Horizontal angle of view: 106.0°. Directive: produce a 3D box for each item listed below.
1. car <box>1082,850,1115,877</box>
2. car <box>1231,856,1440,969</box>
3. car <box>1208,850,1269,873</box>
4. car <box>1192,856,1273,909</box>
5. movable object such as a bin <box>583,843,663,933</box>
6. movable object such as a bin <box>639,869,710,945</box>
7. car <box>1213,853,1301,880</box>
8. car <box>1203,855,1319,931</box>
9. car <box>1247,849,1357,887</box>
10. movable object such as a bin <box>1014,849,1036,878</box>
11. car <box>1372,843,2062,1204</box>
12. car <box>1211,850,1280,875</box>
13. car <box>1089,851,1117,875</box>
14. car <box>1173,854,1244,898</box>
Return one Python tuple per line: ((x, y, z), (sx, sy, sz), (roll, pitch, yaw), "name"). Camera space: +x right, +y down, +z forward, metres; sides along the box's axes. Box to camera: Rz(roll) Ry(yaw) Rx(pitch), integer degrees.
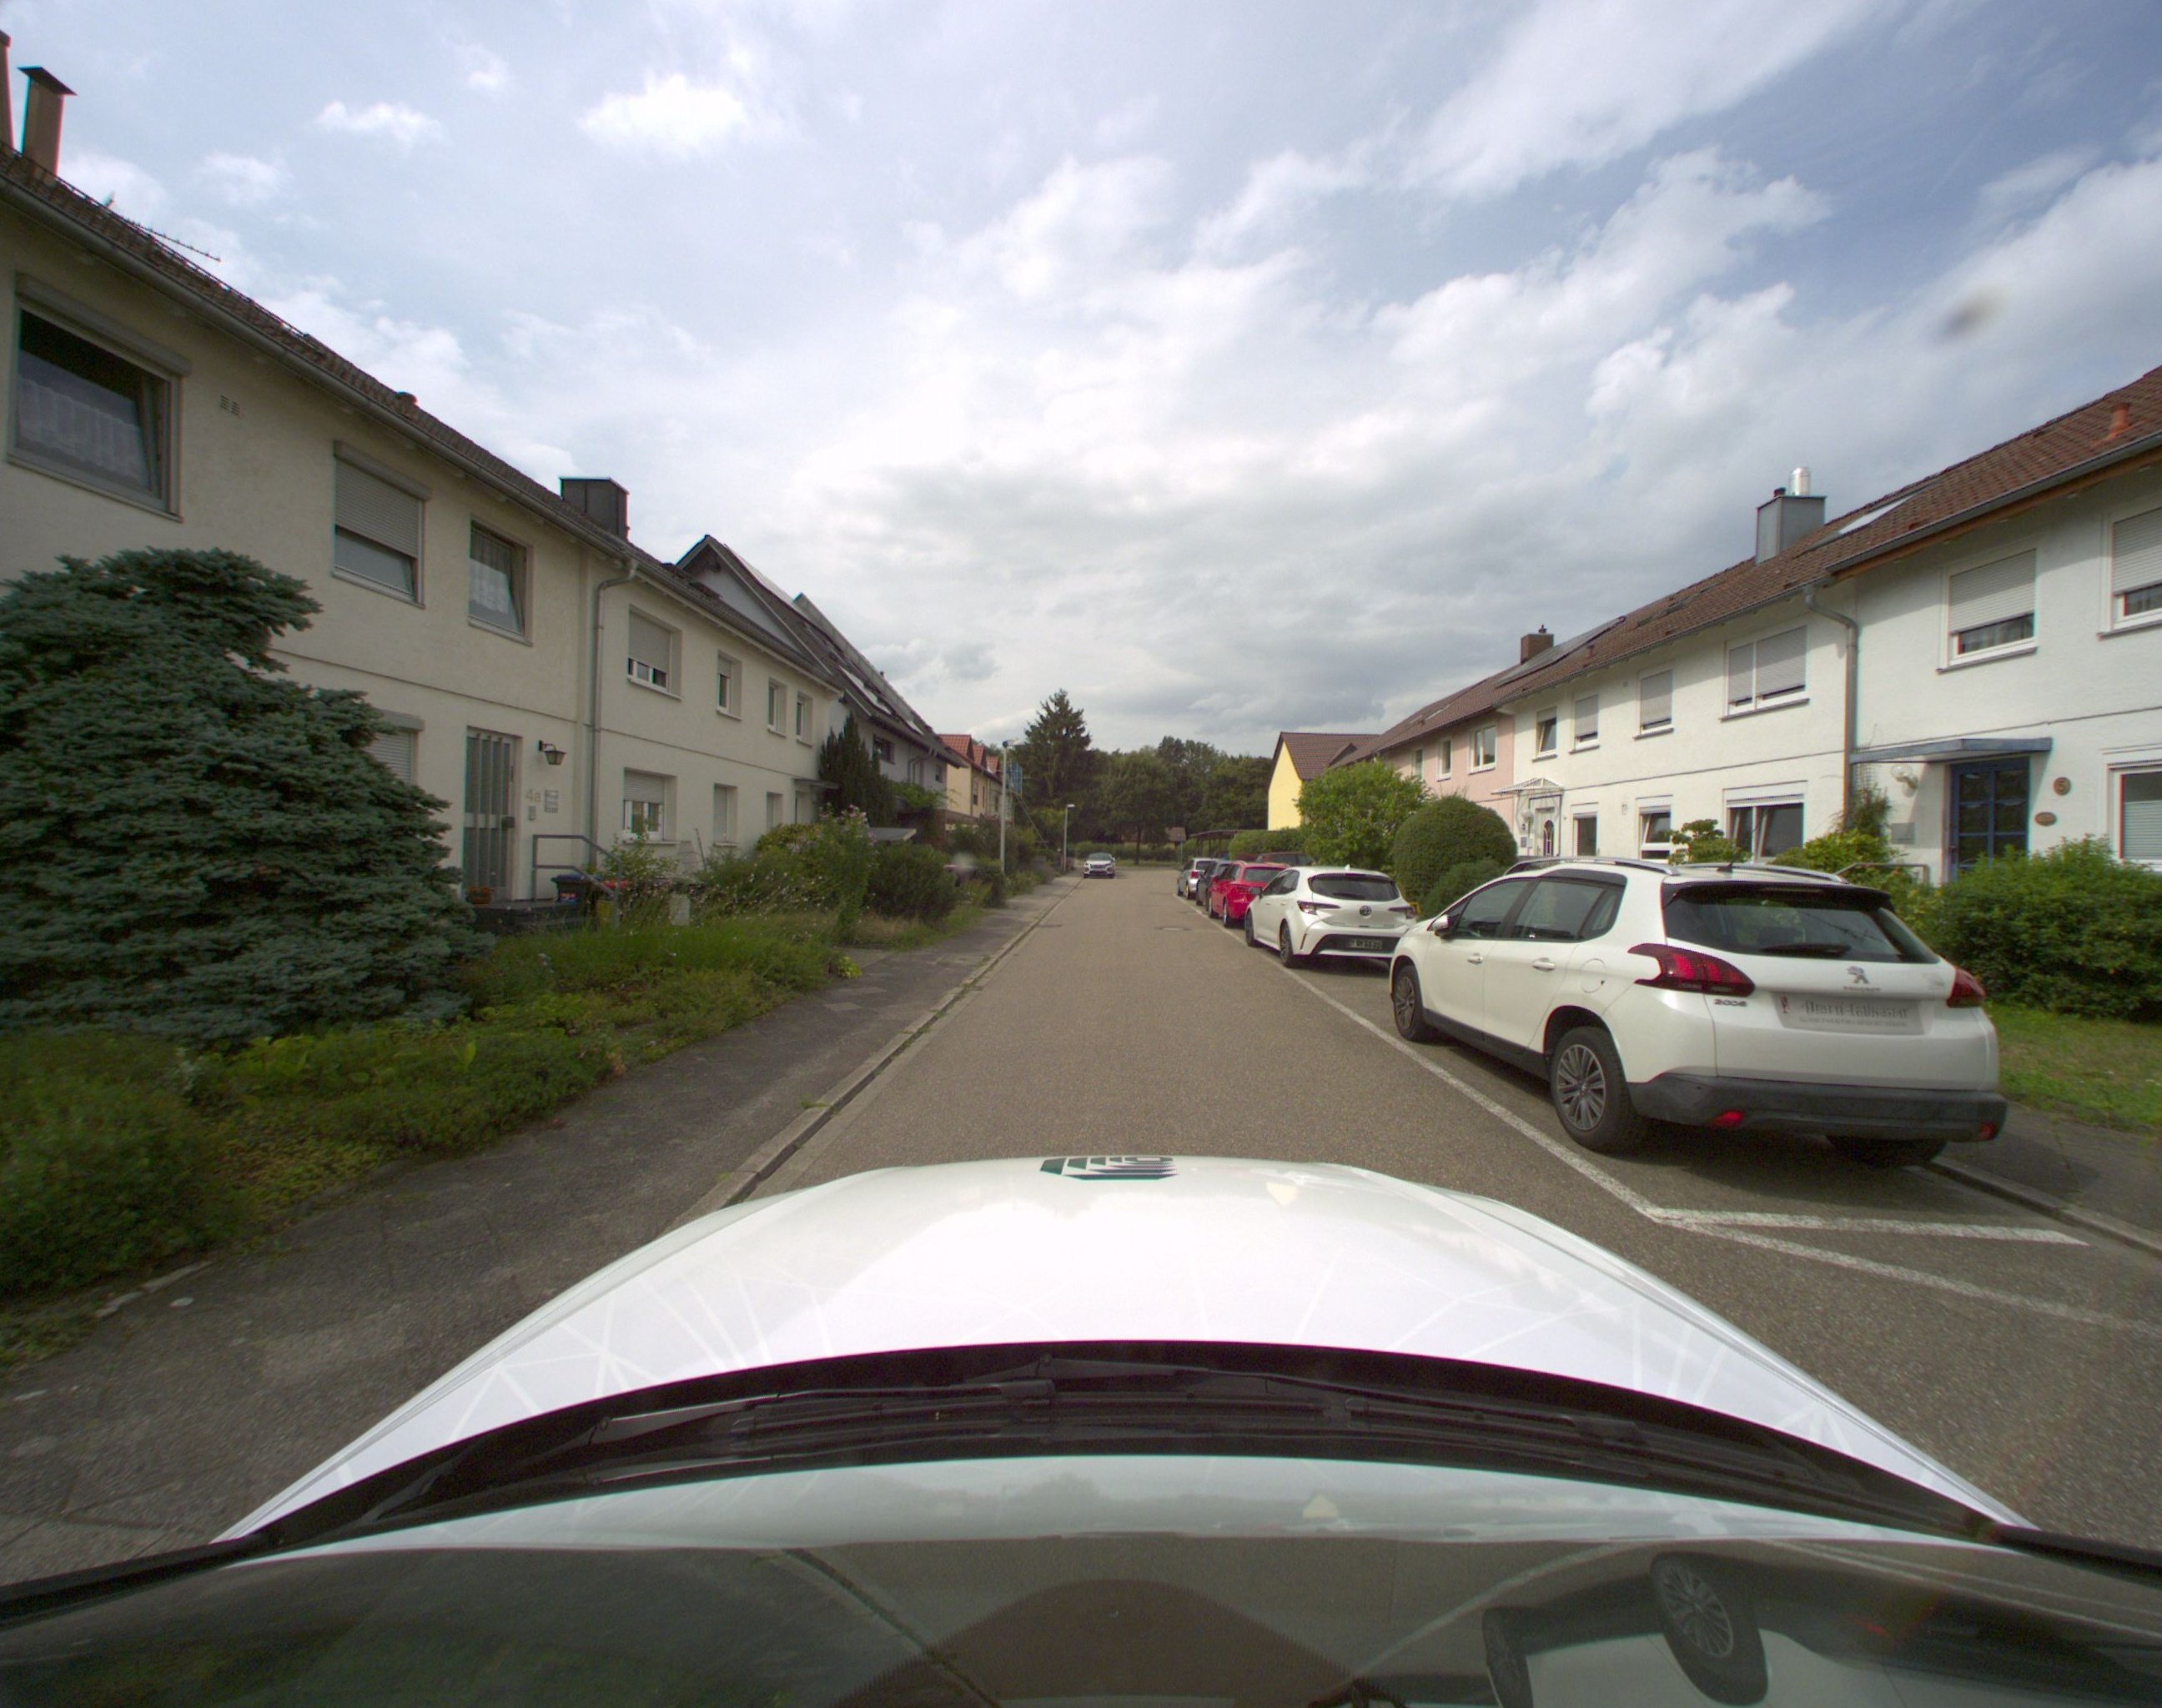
((1.127, 0.548, 50.234), (1.926, 1.556, 4.638), (0, 0, 3), "car")
((3.733, 0.764, 12.868), (1.832, 1.413, 4.636), (0, 0, 0), "car")
((11.032, 0.506, 57.223), (3.945, 1.540, 1.839), (0, 0, -1), "car")
((4.314, 0.748, 23.711), (1.765, 1.356, 4.268), (0, 0, 3), "car")
((-6.468, 0.465, 11.525), (0.693, 1.239, 0.735), (0, 0, 2), "movable object such as a bin")
((-5.625, 0.724, 11.287), (0.672, 1.007, 0.598), (0, 0, 2), "movable object such as a bin")
((9.621, 0.679, 44.790), (4.435, 1.433, 2.027), (0, 0, 0), "car")
((3.997, 0.791, 18.881), (1.766, 1.436, 4.829), (3, 0, 2), "car")
((9.375, 0.570, 34.882), (4.253, 1.560, 1.936), (0, 0, 2), "car")
((-2.663, 0.444, 38.547), (0.946, 1.312, 1.001), (0, 0, 1), "movable object such as a bin")
((3.553, 0.745, 5.634), (1.707, 1.543, 3.975), (2, 0, 1), "car")
((10.527, 0.542, 52.312), (4.034, 1.522, 1.950), (0, 0, -1), "car")
((1.547, 0.564, 55.626), (1.803, 1.562, 4.850), (0, 0, 2), "car")
((4.494, 0.728, 29.209), (1.859, 1.417, 4.252), (1, 0, 0), "car")
